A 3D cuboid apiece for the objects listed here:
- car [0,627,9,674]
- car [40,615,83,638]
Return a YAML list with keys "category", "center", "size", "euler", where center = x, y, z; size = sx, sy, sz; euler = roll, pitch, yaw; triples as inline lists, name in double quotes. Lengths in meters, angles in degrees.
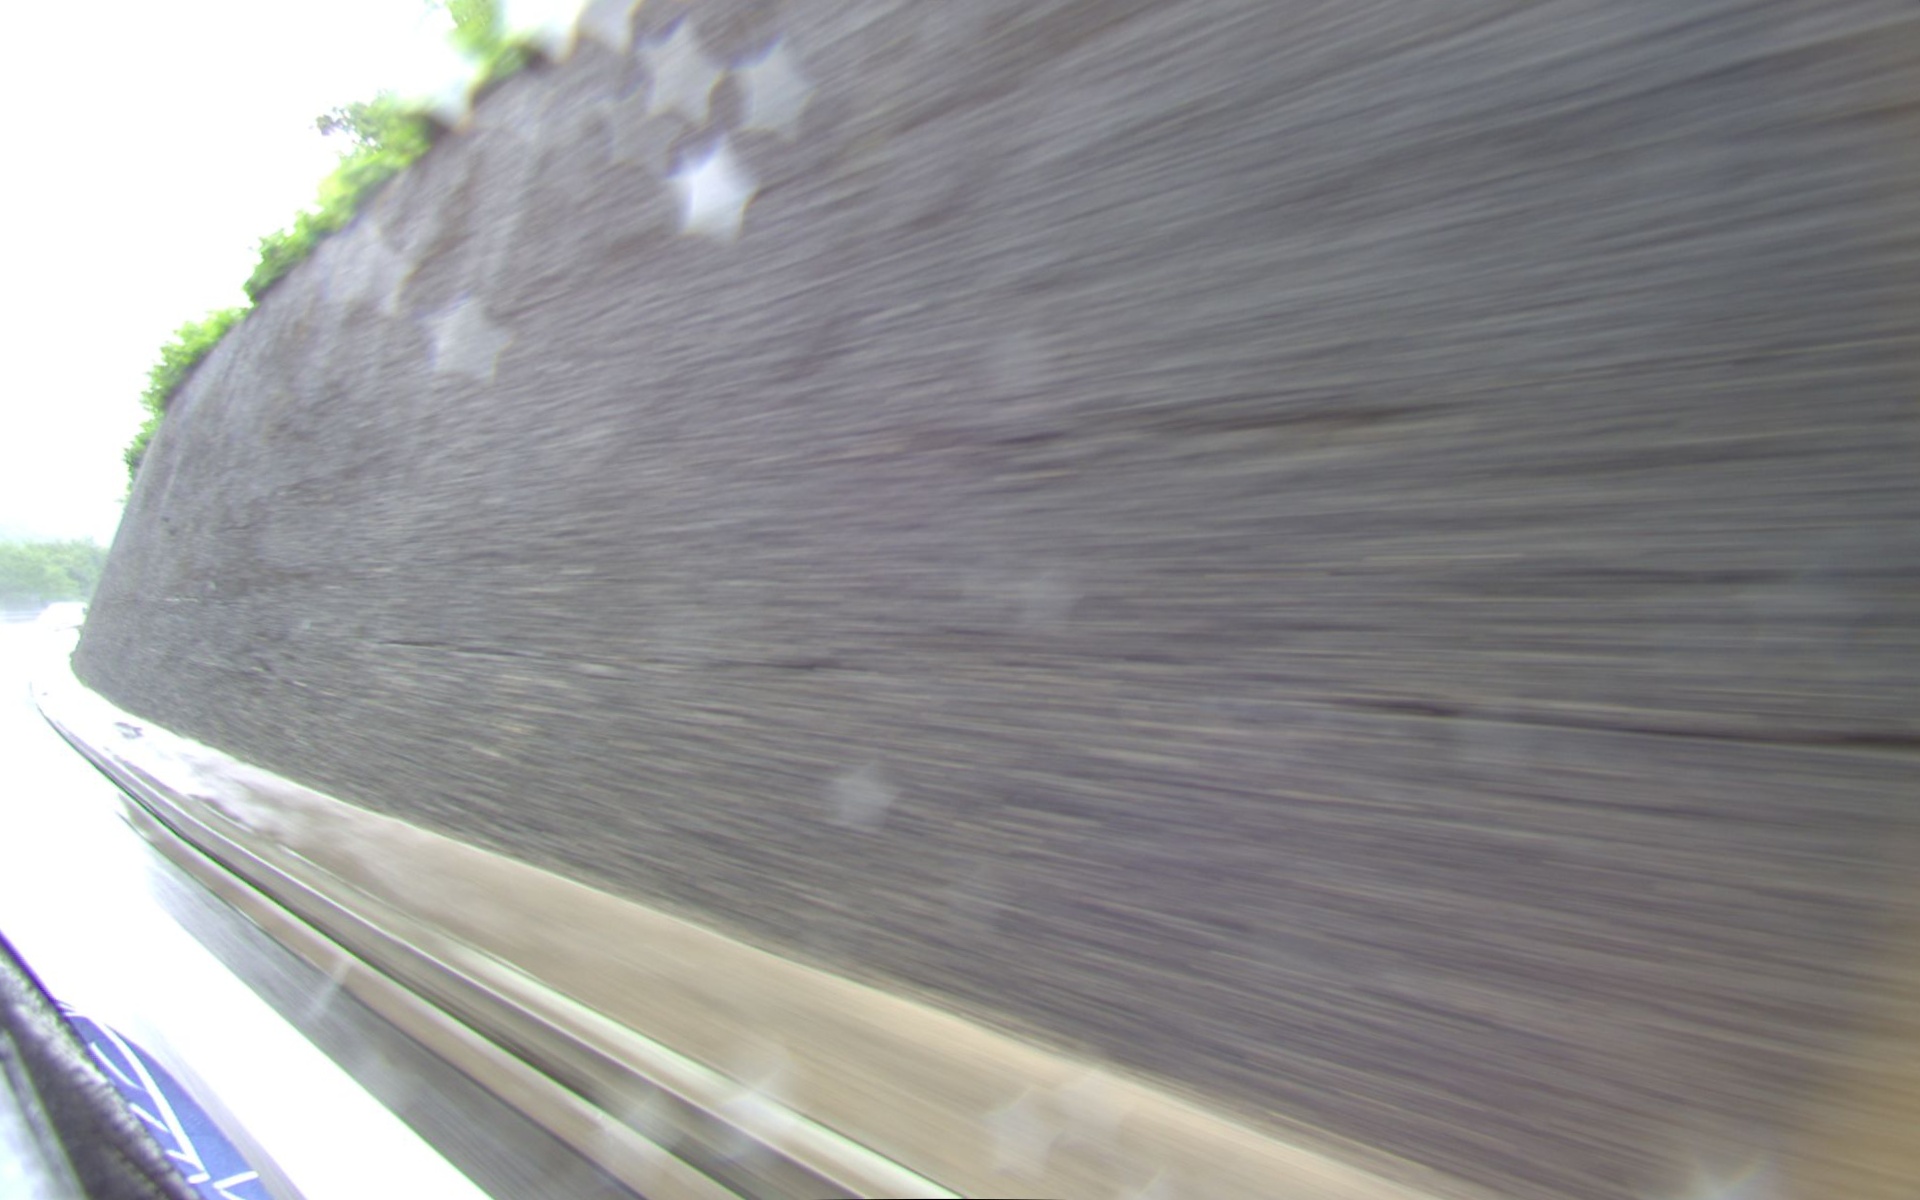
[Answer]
- category: "car"
  center: [-29.758, 1.565, 30.087]
  size: [1.800, 1.393, 4.008]
  euler: [-3, 1, -38]
- category: "car"
  center: [-60.133, 1.769, 67.806]
  size: [1.799, 1.393, 4.009]
  euler: [-3, 1, -37]
